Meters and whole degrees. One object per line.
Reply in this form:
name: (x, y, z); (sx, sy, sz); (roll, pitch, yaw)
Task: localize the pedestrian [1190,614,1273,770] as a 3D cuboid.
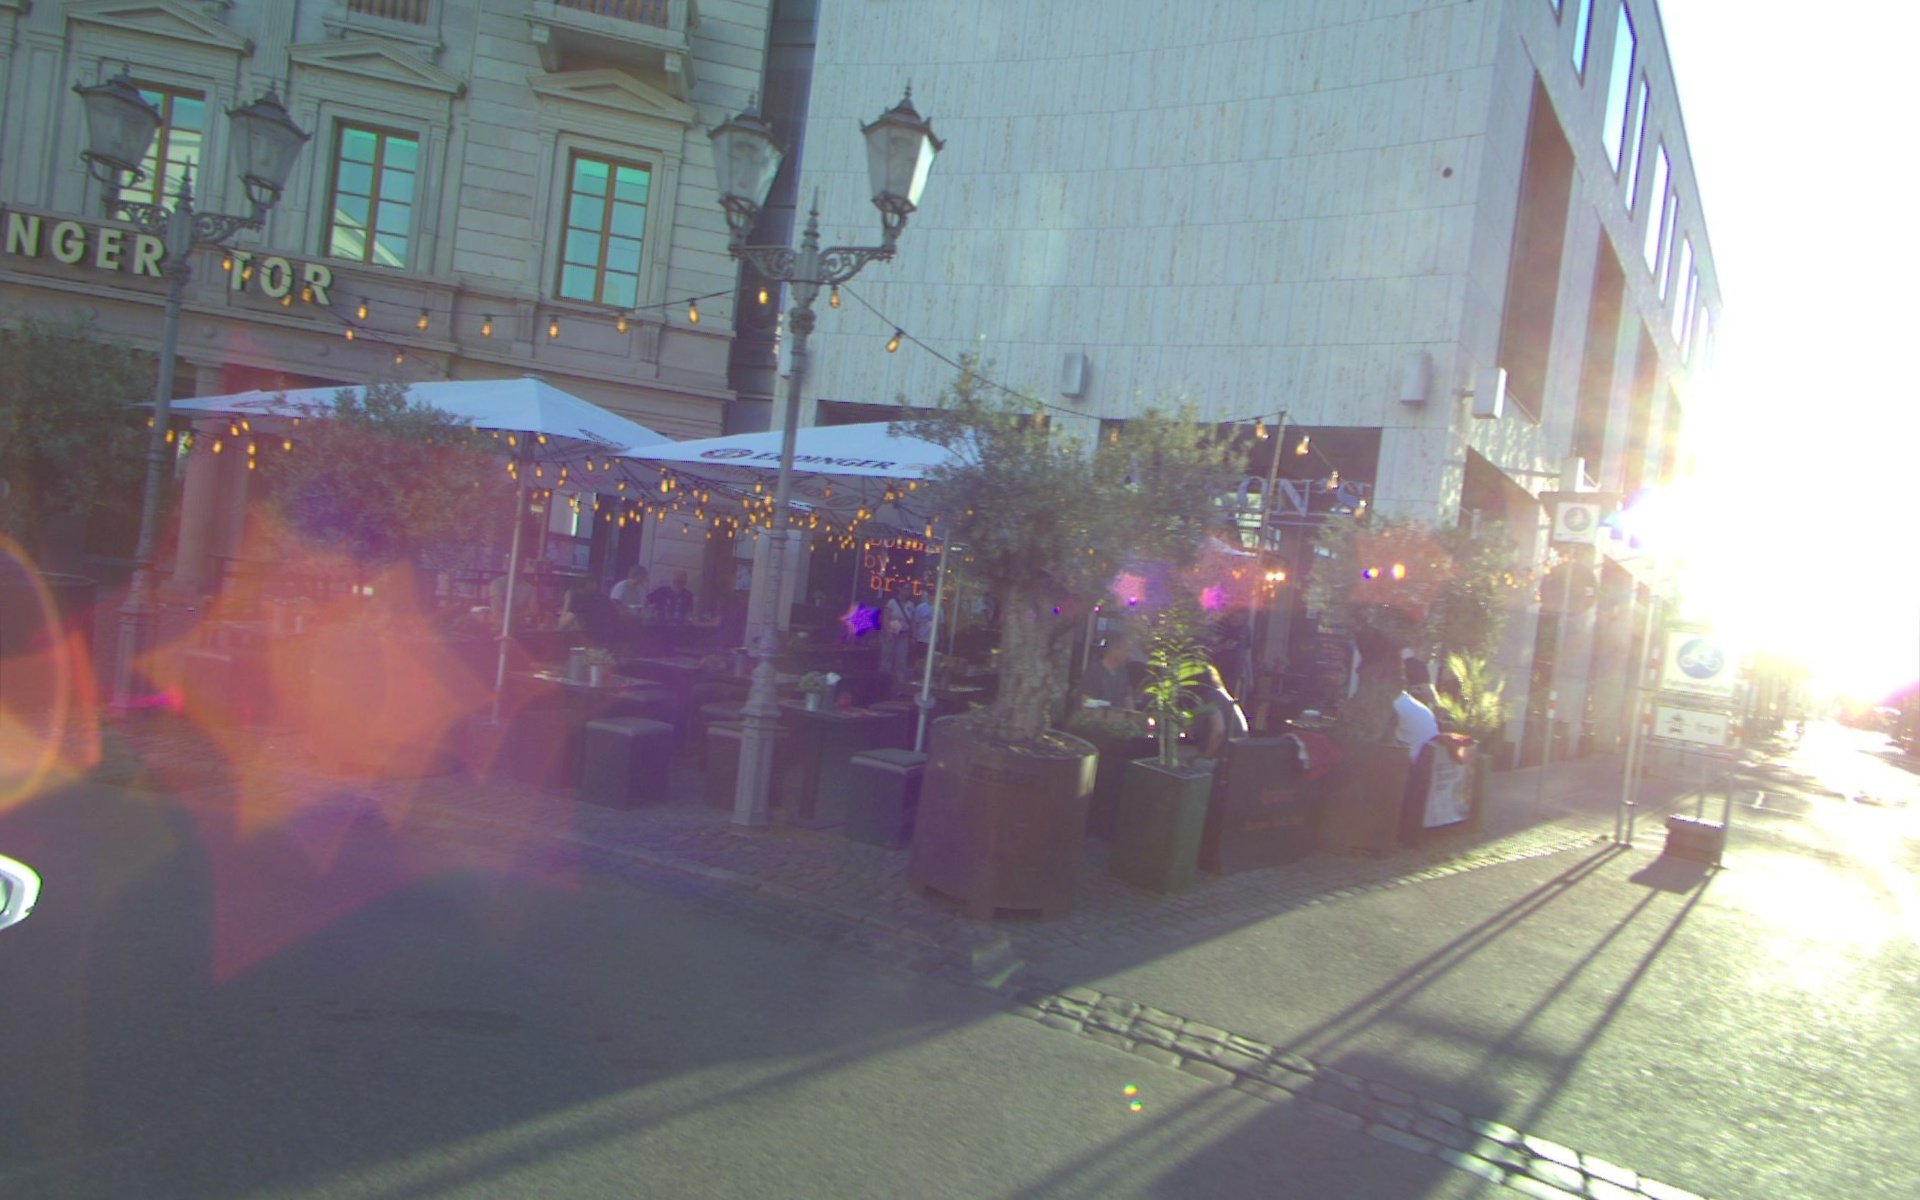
pedestrian: (3.305, 1.100, 12.333); (0.703, 1.769, 0.710); (7, 1, 10)

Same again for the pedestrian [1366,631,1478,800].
pedestrian: (5.239, 1.289, 11.451); (0.697, 1.769, 0.716); (7, 1, -5)

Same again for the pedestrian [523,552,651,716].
pedestrian: (-3.641, 0.329, 9.813); (0.854, 1.465, 0.719); (8, 1, 43)

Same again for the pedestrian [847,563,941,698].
pedestrian: (-0.970, 0.435, 14.649); (0.723, 1.825, 0.970); (6, 1, -41)

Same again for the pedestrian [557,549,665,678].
pedestrian: (-4.337, 0.174, 12.525); (0.839, 1.465, 0.773); (8, 1, 33)

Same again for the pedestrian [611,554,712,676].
pedestrian: (-3.947, 0.204, 13.305); (0.839, 1.465, 0.772); (8, 1, 35)

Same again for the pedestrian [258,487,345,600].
pedestrian: (-11.135, -0.934, 17.037); (0.856, 1.769, 0.715); (7, 1, -8)

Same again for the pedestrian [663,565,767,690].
pedestrian: (-3.119, 0.358, 12.815); (0.839, 1.465, 0.772); (8, 1, 35)

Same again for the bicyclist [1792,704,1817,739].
bicyclist: (44.911, 6.439, 53.518); (0.787, 1.711, 0.896); (8, 1, 38)

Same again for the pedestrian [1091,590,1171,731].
pedestrian: (2.320, 0.809, 13.609); (0.704, 1.769, 0.709); (8, 1, 25)

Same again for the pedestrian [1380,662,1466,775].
pedestrian: (6.246, 1.597, 13.582); (0.659, 1.393, 0.682); (6, 1, -39)

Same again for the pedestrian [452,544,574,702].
pedestrian: (-4.531, 0.237, 10.192); (0.854, 1.465, 0.719); (8, 1, 43)

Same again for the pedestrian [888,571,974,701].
pedestrian: (-0.435, 0.538, 15.174); (0.724, 1.825, 0.840); (6, 1, -41)

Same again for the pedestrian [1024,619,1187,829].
pedestrian: (1.142, 0.951, 7.932); (0.854, 1.465, 0.719); (8, 1, 43)

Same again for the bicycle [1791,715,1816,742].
bicycle: (44.832, 6.822, 53.500); (0.787, 1.232, 2.225); (8, 0, 38)

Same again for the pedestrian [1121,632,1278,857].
pedestrian: (1.746, 1.026, 7.338); (0.684, 1.465, 0.719); (8, 1, 43)

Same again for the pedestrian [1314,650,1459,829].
pedestrian: (4.048, 1.276, 9.524); (0.930, 1.465, 0.968); (8, 1, 35)
